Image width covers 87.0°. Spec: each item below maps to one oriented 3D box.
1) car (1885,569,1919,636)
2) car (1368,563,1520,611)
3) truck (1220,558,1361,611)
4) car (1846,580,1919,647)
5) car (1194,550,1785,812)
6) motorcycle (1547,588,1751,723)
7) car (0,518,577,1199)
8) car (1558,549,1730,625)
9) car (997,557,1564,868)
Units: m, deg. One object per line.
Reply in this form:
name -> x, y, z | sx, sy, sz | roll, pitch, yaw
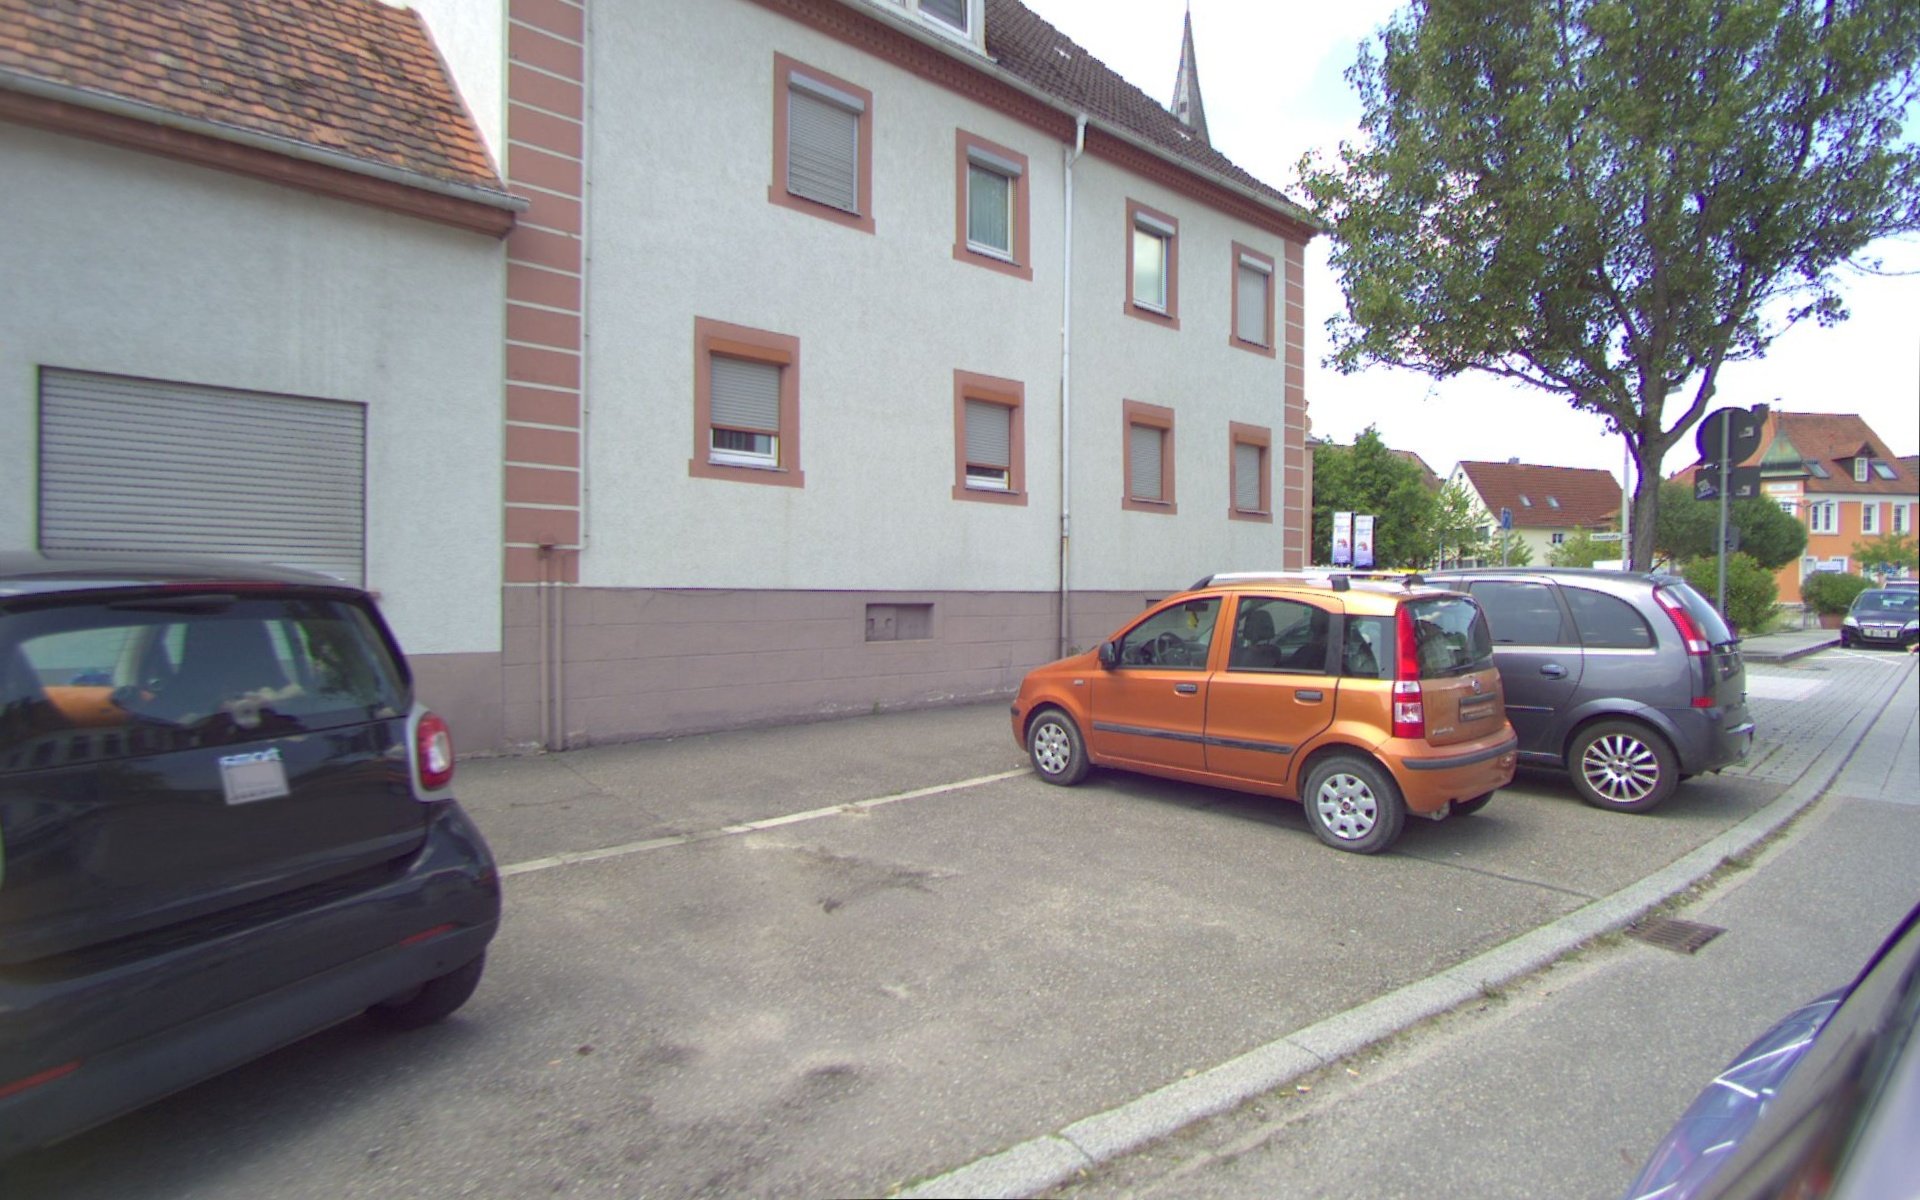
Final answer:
car -> 33.652, 0.077, 34.978 | 5.013, 2.204, 1.946 | -1, 2, -42
car -> 25.922, -0.684, 54.480 | 6.841, 2.508, 2.650 | 0, 0, 5
truck -> 16.999, -0.796, 52.512 | 2.898, 2.529, 6.832 | 0, 1, -30
car -> 24.755, 0.309, 26.423 | 4.340, 1.583, 1.773 | -1, 3, -40
car -> 4.055, 0.421, 8.161 | 1.821, 1.597, 3.851 | -1, 2, -45
motorcycle -> 7.863, 0.572, 11.712 | 0.856, 1.412, 2.225 | 0, 0, 1
car -> -2.937, 0.582, 3.216 | 2.759, 1.524, 1.862 | 0, 0, 25
car -> 28.779, -0.593, 42.568 | 6.966, 2.999, 2.767 | -1, 1, -24
car -> 2.032, 0.537, 7.042 | 1.696, 1.597, 3.383 | 0, 1, -41
